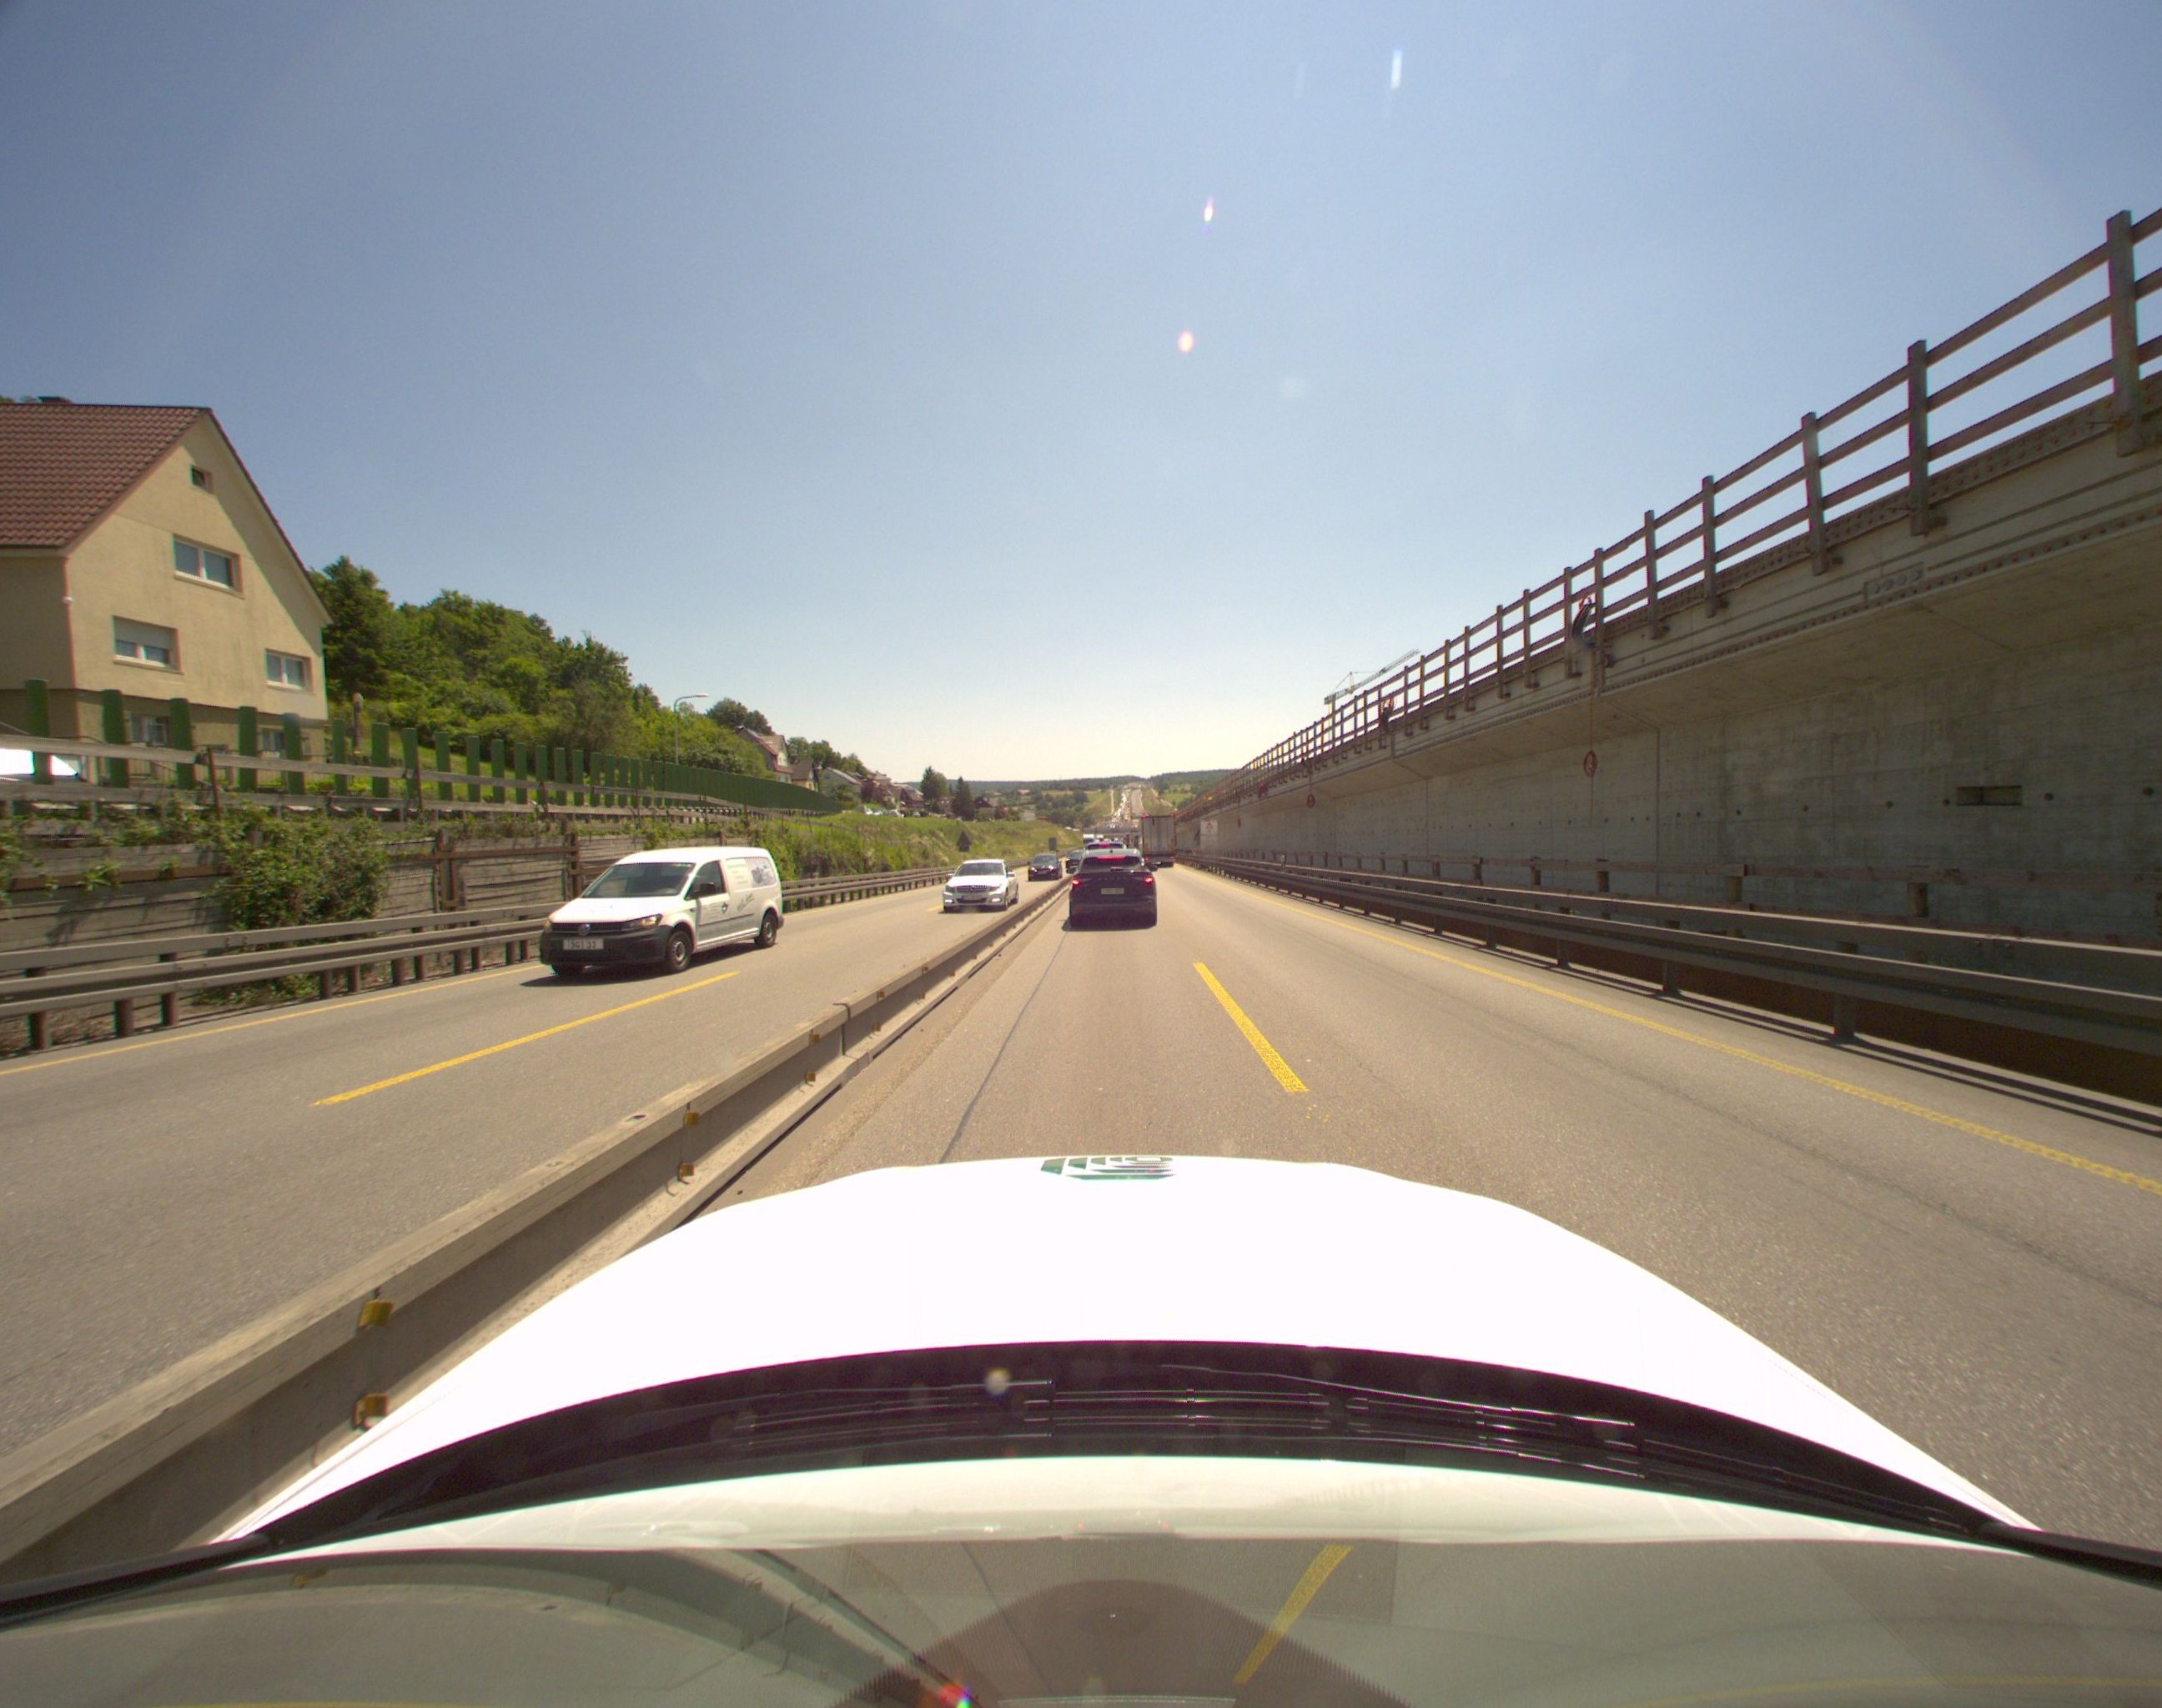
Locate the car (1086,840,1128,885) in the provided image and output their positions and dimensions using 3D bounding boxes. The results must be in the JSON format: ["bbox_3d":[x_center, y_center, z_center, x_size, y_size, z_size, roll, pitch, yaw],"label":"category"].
[{"bbox_3d":[1.112,0.349,36.071,1.743,1.895,3.755,0,0,0],"label":"car"}]

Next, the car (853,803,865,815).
[{"bbox_3d":[-31.834,-6.442,116.870,1.731,1.398,3.781,0,0,-15],"label":"car"}]

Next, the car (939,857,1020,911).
[{"bbox_3d":[-2.884,0.811,23.964,1.726,1.437,4.260,0,0,1],"label":"car"}]

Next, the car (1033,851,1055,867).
[{"bbox_3d":[-3.591,0.499,80.671,1.807,1.448,5.008,0,0,1],"label":"car"}]

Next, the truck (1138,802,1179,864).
[{"bbox_3d":[6.239,-1.530,67.433,2.834,4.615,11.820,-1,-1,3],"label":"truck"}]

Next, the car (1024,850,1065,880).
[{"bbox_3d":[-2.009,0.616,45.864,1.598,1.446,4.676,-4,-1,5],"label":"car"}]

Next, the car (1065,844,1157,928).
[{"bbox_3d":[0.647,0.632,17.917,1.776,1.597,3.756,-2,0,2],"label":"car"}]

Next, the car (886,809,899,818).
[{"bbox_3d":[-34.364,-7.330,148.443,1.992,1.319,3.989,2,0,-8],"label":"car"}]

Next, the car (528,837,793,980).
[{"bbox_3d":[-6.388,0.736,13.109,1.590,1.834,4.755,-2,0,2],"label":"car"}]

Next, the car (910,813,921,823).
[{"bbox_3d":[-34.239,-7.449,168.268,1.924,1.728,3.990,-2,0,-8],"label":"car"}]

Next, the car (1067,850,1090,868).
[{"bbox_3d":[-0.201,0.432,75.011,1.835,1.530,4.296,-2,-1,2],"label":"car"}]

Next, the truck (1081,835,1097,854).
[{"bbox_3d":[1.798,-2.223,189.812,3.174,4.238,6.475,-2,-1,-4],"label":"truck"}]
